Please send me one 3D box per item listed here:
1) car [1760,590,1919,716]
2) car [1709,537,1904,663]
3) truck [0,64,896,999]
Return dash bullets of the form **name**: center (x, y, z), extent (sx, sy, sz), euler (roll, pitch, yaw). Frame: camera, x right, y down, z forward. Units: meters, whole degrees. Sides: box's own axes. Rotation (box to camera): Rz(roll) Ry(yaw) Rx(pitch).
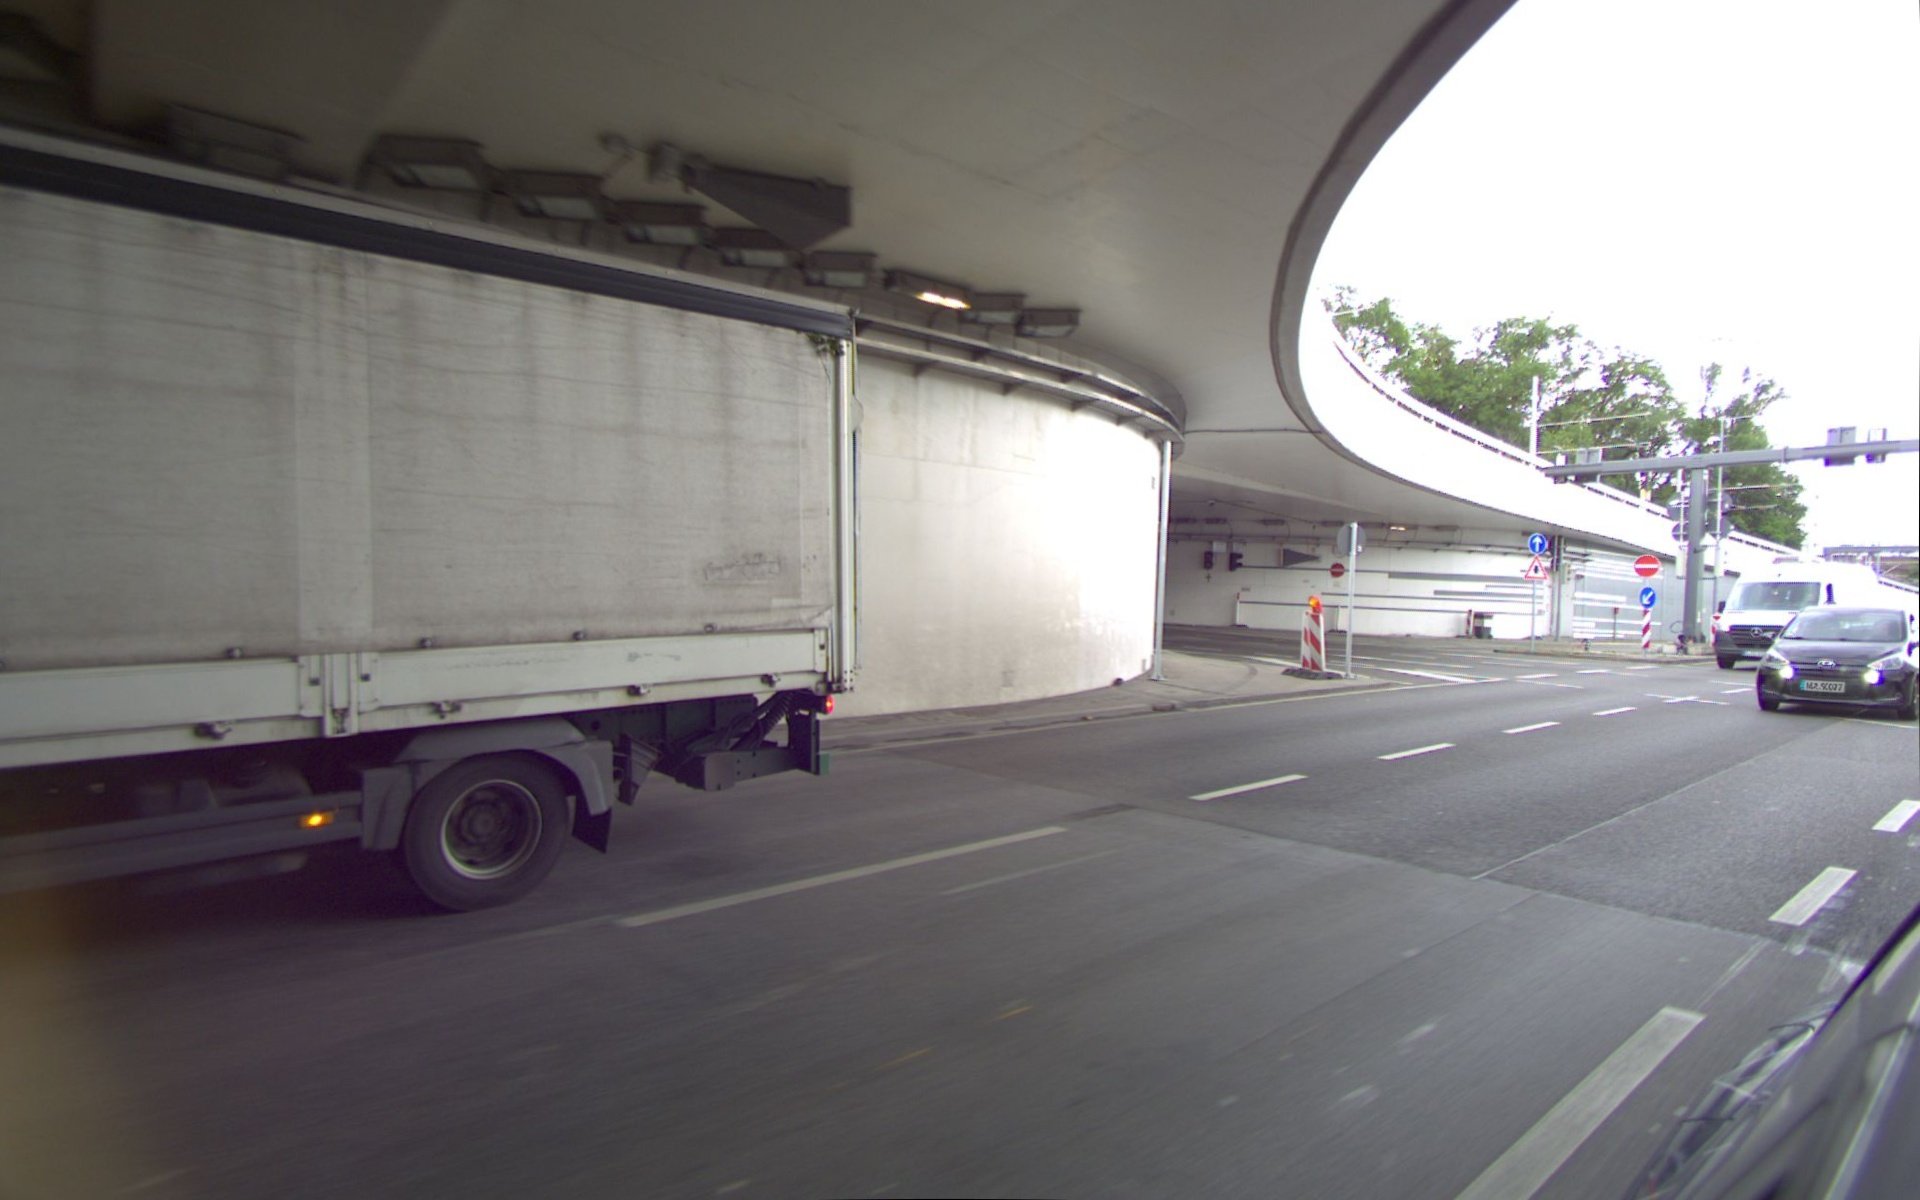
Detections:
- **car**: center (12.844, 0.720, 14.295), extent (3.626, 1.565, 1.685), euler (2, -2, -39)
- **car**: center (21.358, 0.120, 25.381), extent (7.187, 2.809, 2.081), euler (3, -1, -36)
- **truck**: center (-4.000, -0.259, 4.653), extent (7.296, 3.225, 2.654), euler (0, 1, -41)
